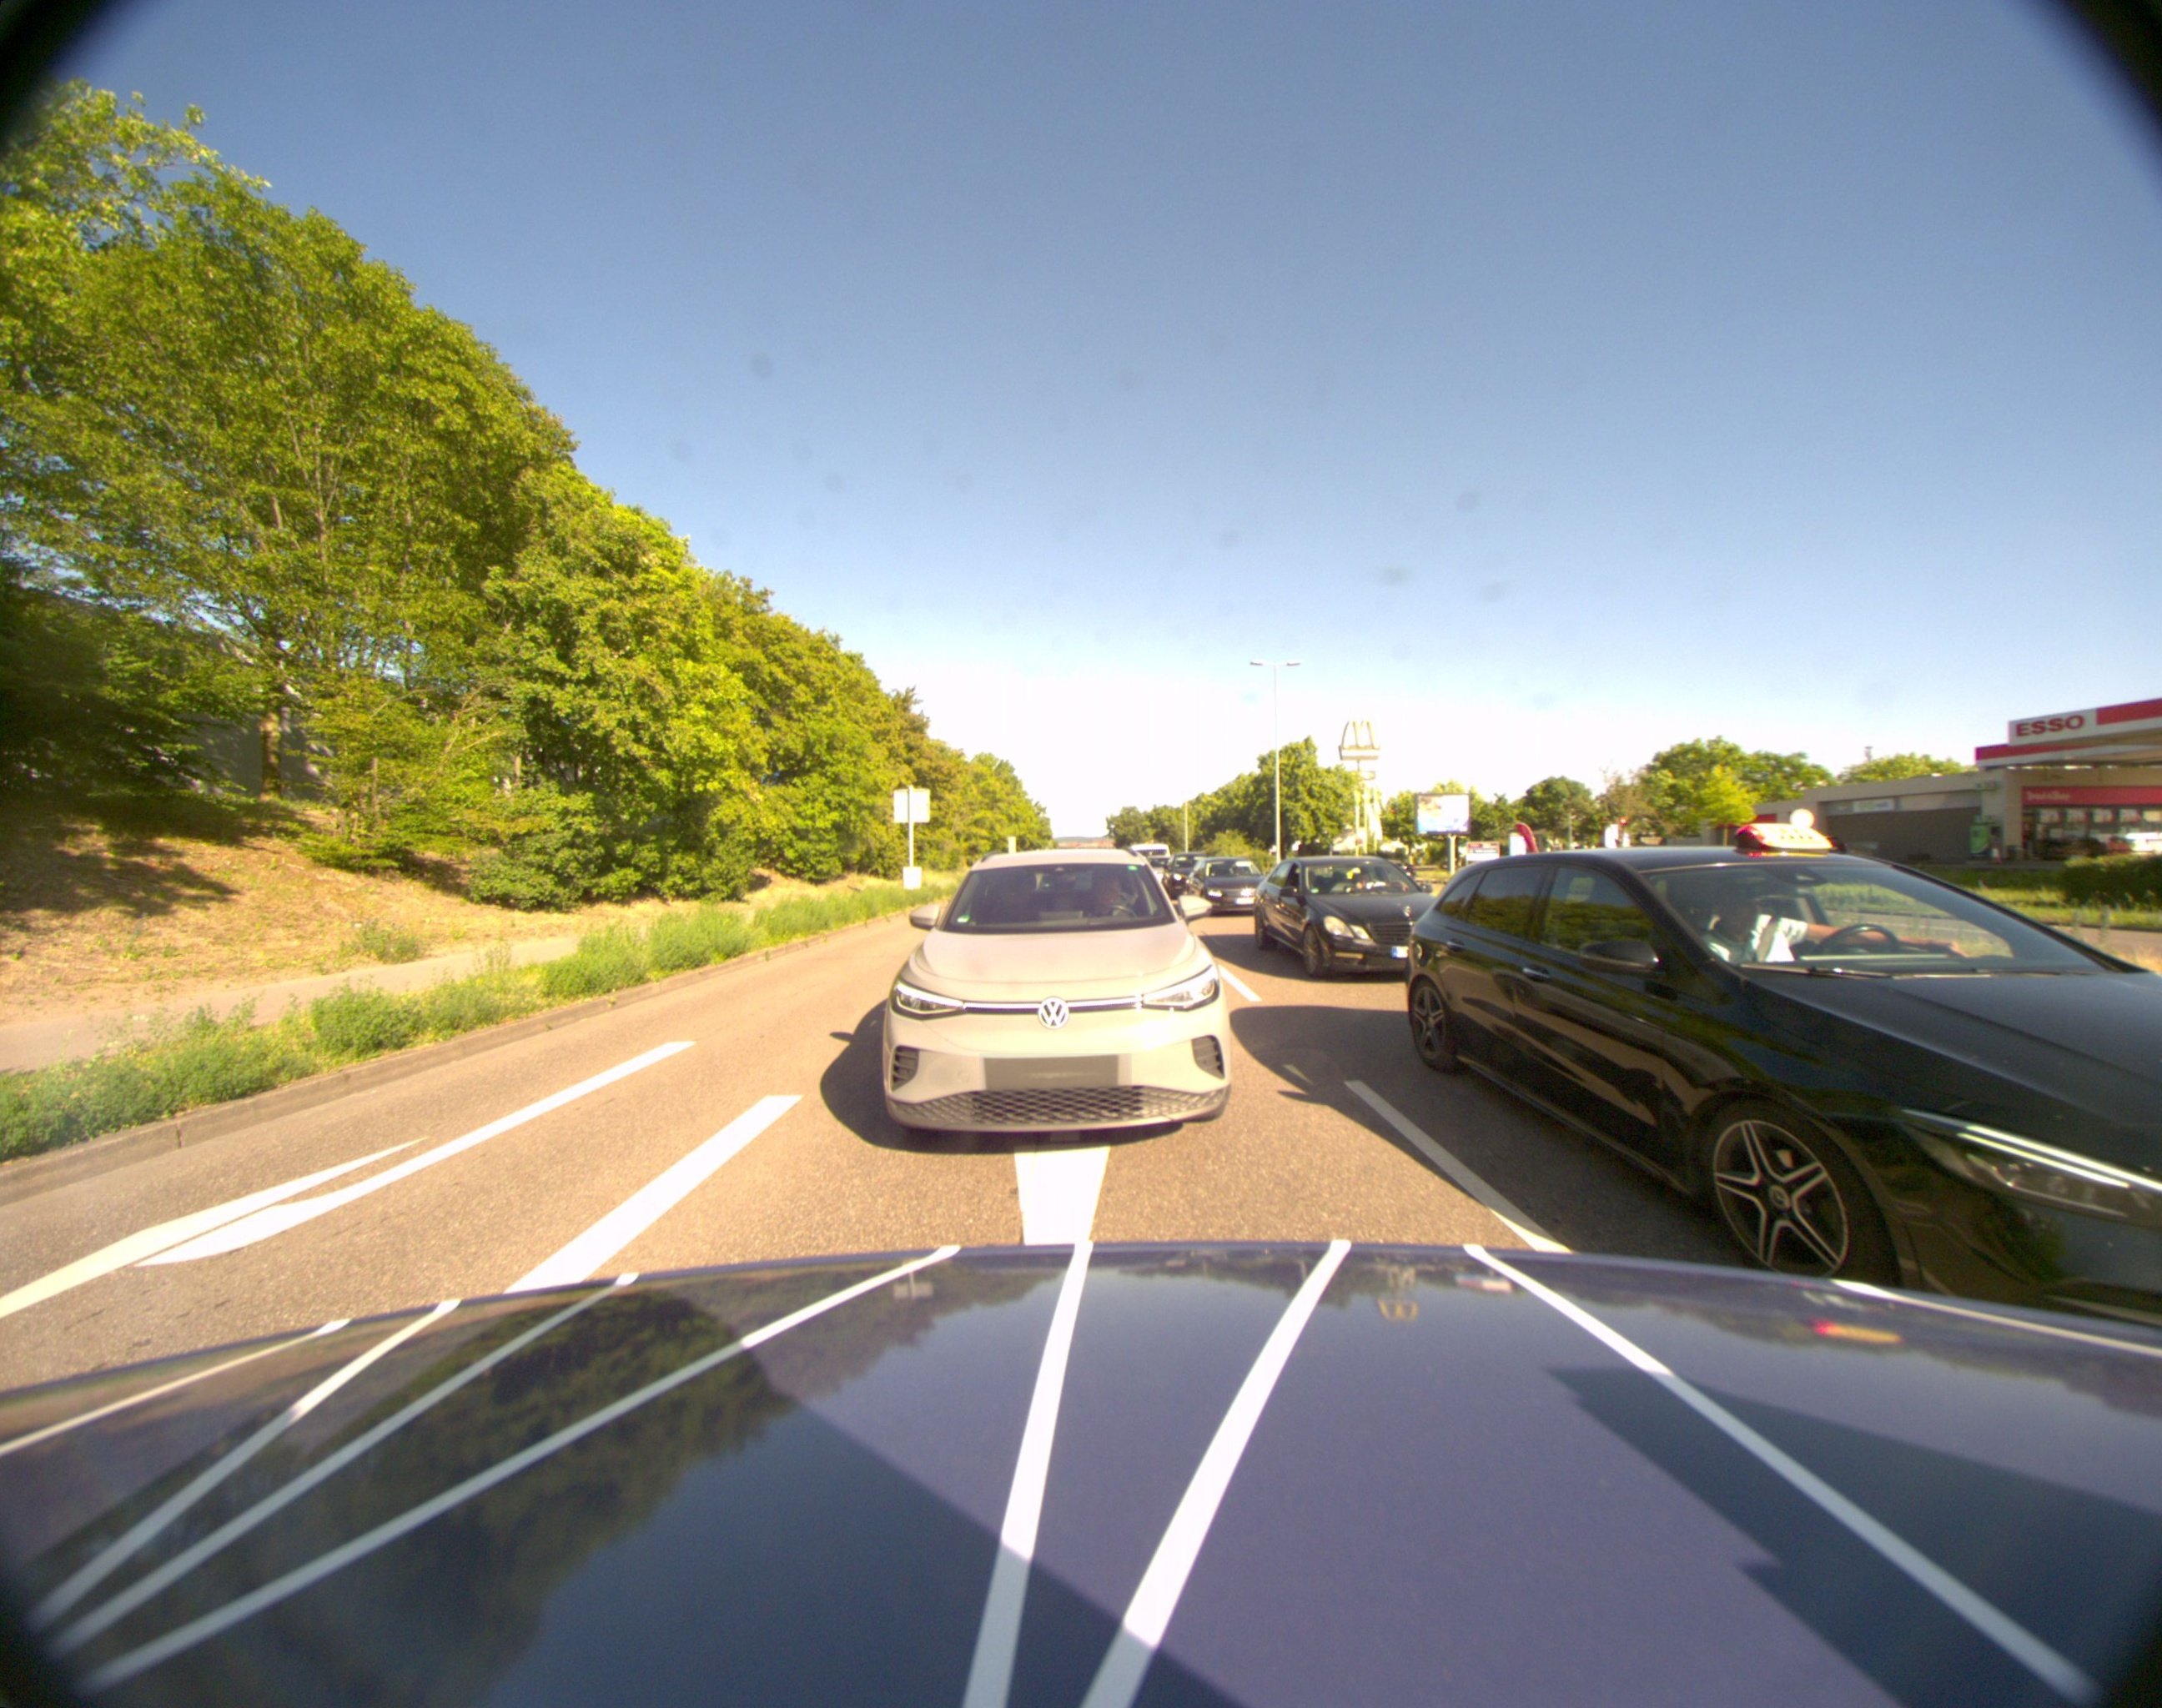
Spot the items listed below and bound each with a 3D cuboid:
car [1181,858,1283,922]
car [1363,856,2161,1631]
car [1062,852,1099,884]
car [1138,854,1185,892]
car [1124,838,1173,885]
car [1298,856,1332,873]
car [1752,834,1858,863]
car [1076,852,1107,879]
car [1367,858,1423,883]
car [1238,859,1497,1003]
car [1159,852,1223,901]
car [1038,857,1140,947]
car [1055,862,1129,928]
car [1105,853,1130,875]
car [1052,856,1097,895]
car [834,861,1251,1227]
[{"bbox_3d":[3.871,0.861,20.225,1.797,1.419,4.287,-2,0,0],"label":"car"},{"bbox_3d":[3.090,0.818,3.662,1.763,1.482,4.402,-2,1,0],"label":"car"},{"bbox_3d":[-0.046,0.713,39.863,1.763,1.482,4.402,-2,1,0],"label":"car"},{"bbox_3d":[3.570,0.792,34.174,1.635,1.547,3.777,-2,0,0],"label":"car"},{"bbox_3d":[3.650,0.386,42.032,2.019,2.349,6.523,-2,0,0],"label":"car"},{"bbox_3d":[20.833,0.903,67.781,1.763,1.401,3.978,1,1,0],"label":"car"},{"bbox_3d":[37.670,-0.310,39.681,1.682,1.401,3.978,1,1,0],"label":"car"},{"bbox_3d":[0.626,0.690,47.031,1.763,1.482,4.402,-2,1,0],"label":"car"},{"bbox_3d":[19.598,1.018,47.603,1.763,1.401,3.978,1,1,0],"label":"car"},{"bbox_3d":[3.588,0.851,10.508,1.868,1.430,4.402,-2,1,0],"label":"car"},{"bbox_3d":[3.902,0.757,27.484,1.674,1.607,3.879,-2,0,0],"label":"car"},{"bbox_3d":[0.134,0.872,15.768,1.763,1.482,4.402,-2,1,0],"label":"car"},{"bbox_3d":[0.263,1.039,20.935,1.763,1.482,4.402,-2,1,0],"label":"car"},{"bbox_3d":[2.927,0.817,62.123,1.763,1.607,4.402,-2,1,0],"label":"car"},{"bbox_3d":[-0.260,0.881,33.042,1.763,1.482,4.402,-2,1,0],"label":"car"},{"bbox_3d":[-0.182,0.899,5.711,1.862,1.573,4.403,-2,0,0],"label":"car"}]
